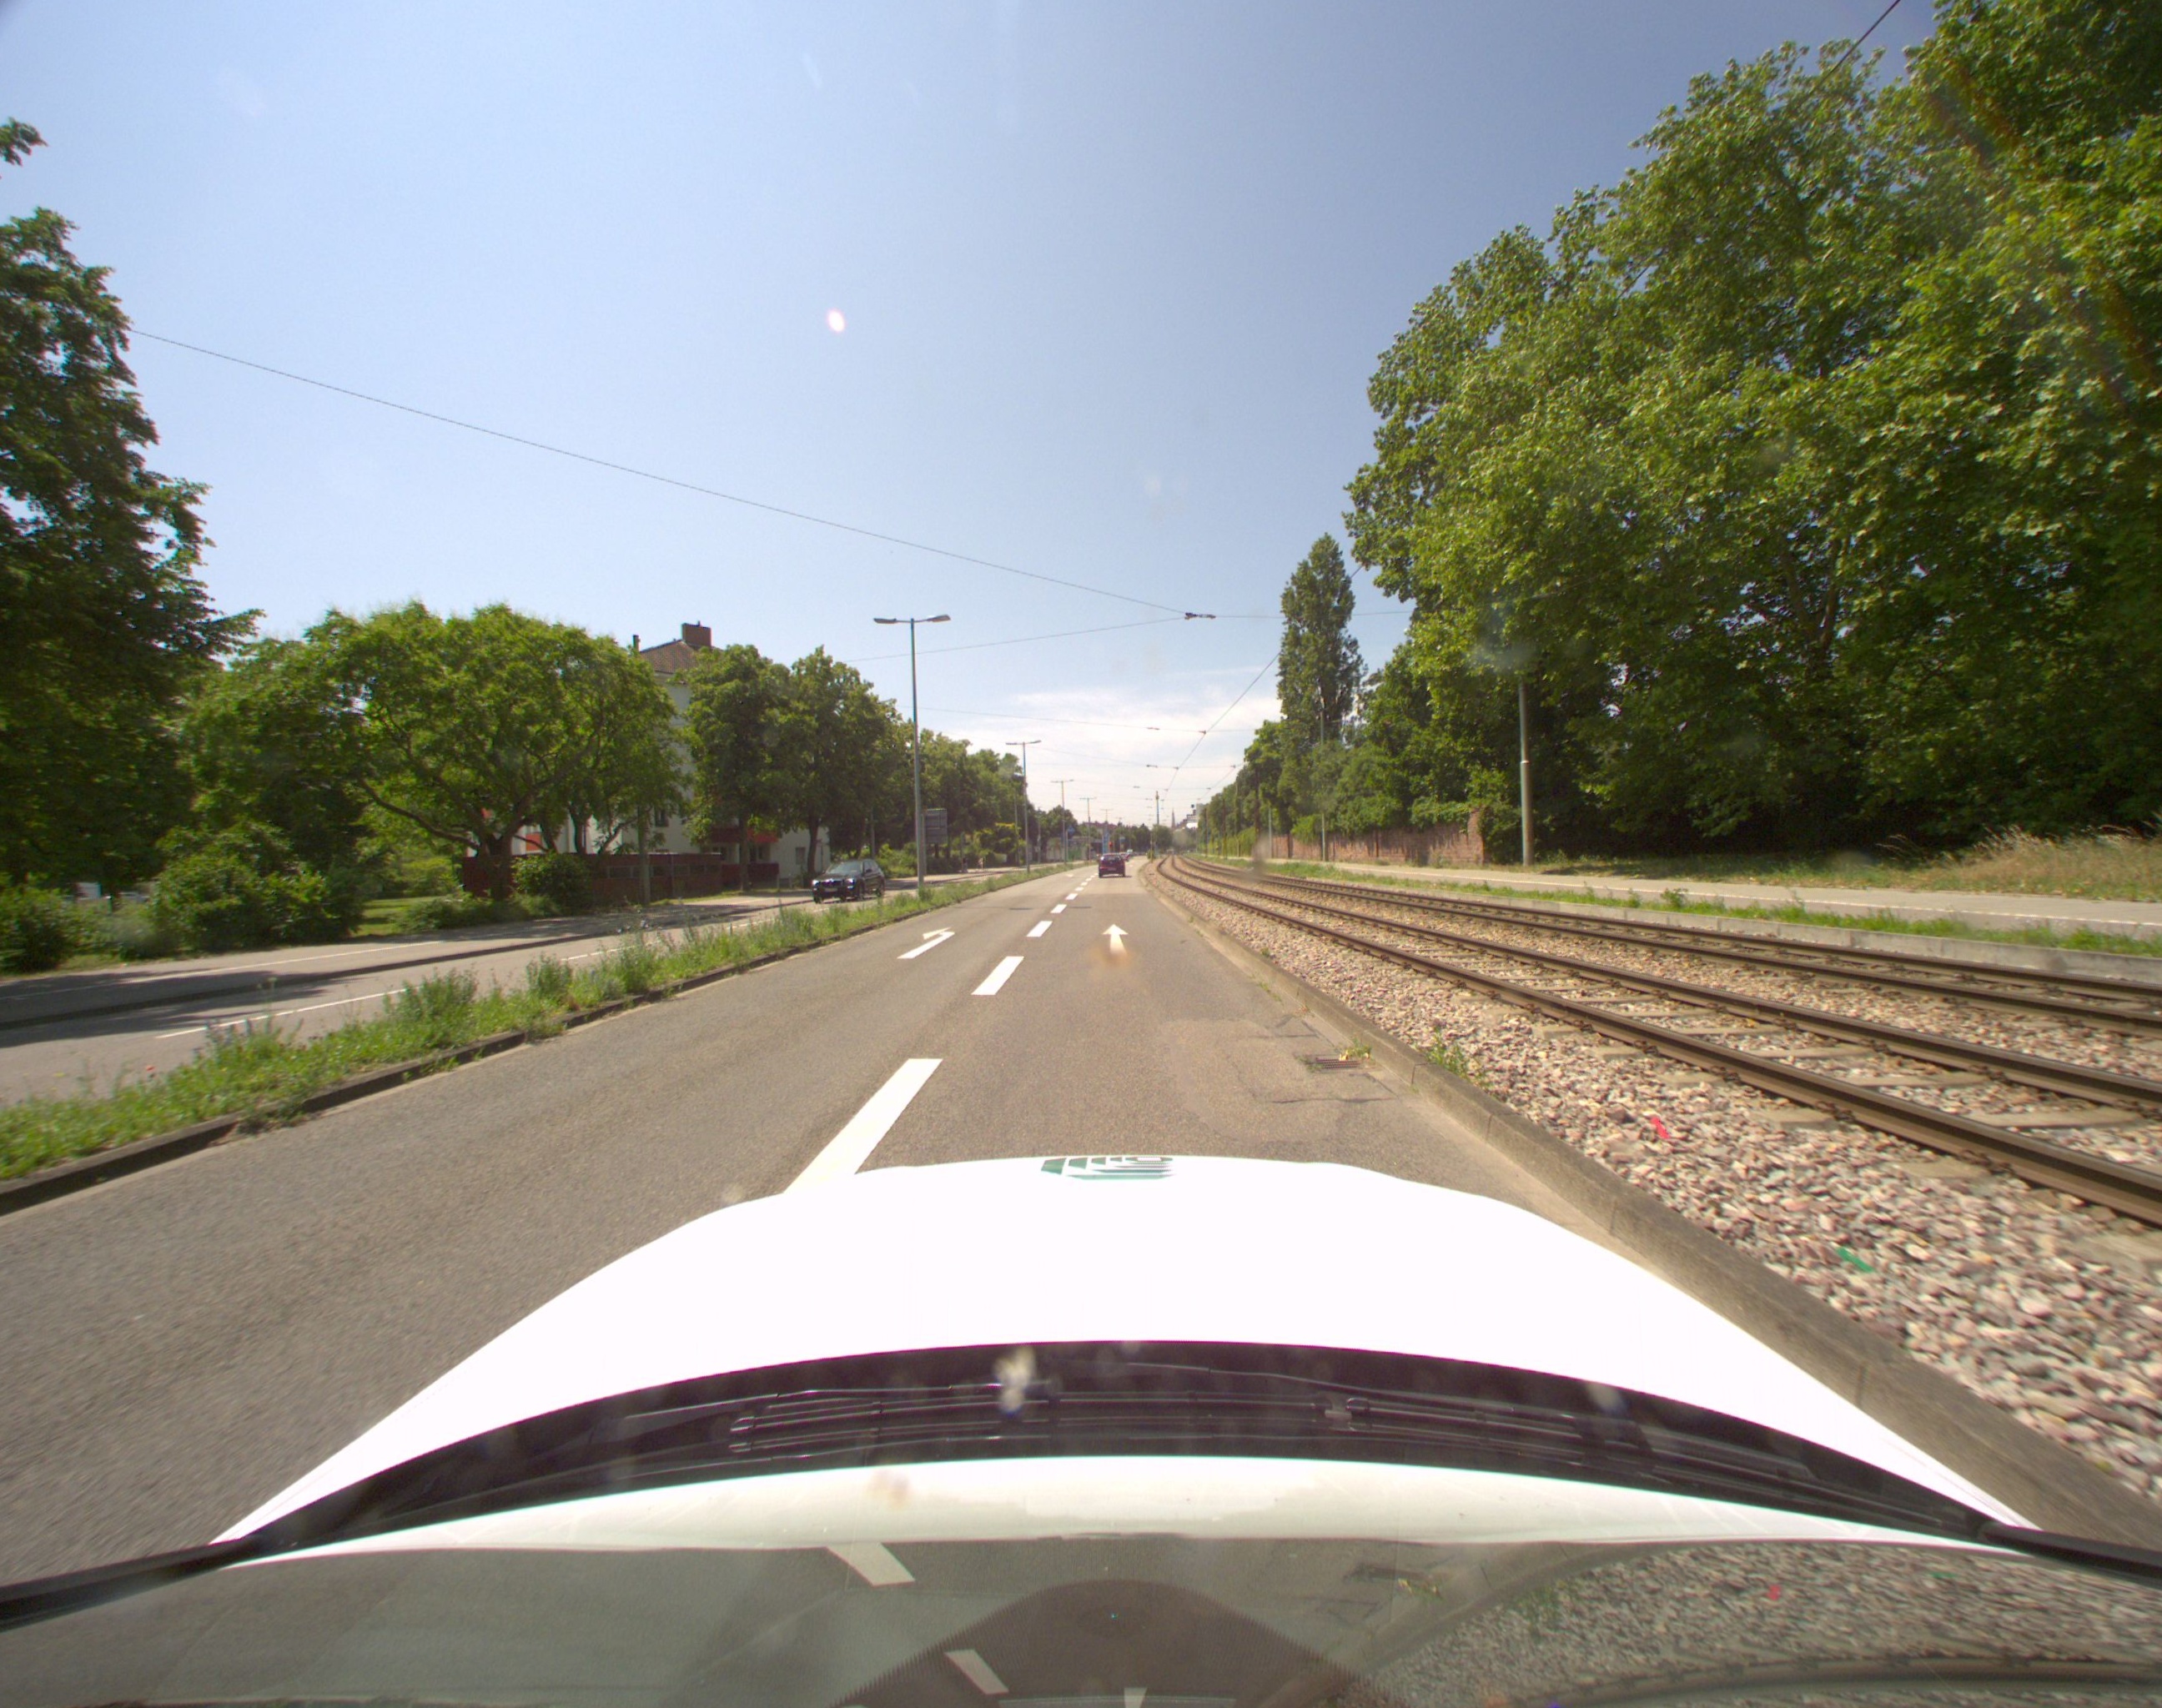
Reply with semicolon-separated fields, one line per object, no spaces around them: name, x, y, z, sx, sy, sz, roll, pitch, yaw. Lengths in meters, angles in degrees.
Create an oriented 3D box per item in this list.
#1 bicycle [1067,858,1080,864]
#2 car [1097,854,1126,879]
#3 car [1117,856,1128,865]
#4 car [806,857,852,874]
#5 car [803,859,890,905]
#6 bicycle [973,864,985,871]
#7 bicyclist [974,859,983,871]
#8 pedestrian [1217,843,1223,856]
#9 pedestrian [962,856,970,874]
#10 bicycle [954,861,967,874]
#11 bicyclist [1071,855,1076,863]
bicycle;-1.543;1.447;169.470;2.549;1.038;1.084;-1;-1;-9
car;1.902;0.760;50.359;1.696;1.477;3.719;0;-1;3
car;6.817;1.026;133.332;1.697;1.480;3.717;-1;0;1
car;-29.112;1.310;94.315;4.657;1.758;1.997;-3;0;-4
car;-9.482;1.075;33.399;1.915;1.626;4.759;-4;0;2
bicycle;-12.342;1.664;98.530;1.438;0.773;0.492;-3;0;-36
bicyclist;-12.411;1.341;98.492;0.968;1.403;0.486;-3;0;-35
pedestrian;18.875;-0.643;110.736;0.658;1.726;0.817;-2;0;5
pedestrian;-11.722;1.115;82.979;0.545;1.718;0.606;-3;0;19
bicycle;-12.293;1.387;83.171;0.640;1.327;1.581;-3;0;18
bicyclist;-1.600;1.037;169.496;0.943;1.593;1.084;-1;-1;-8
